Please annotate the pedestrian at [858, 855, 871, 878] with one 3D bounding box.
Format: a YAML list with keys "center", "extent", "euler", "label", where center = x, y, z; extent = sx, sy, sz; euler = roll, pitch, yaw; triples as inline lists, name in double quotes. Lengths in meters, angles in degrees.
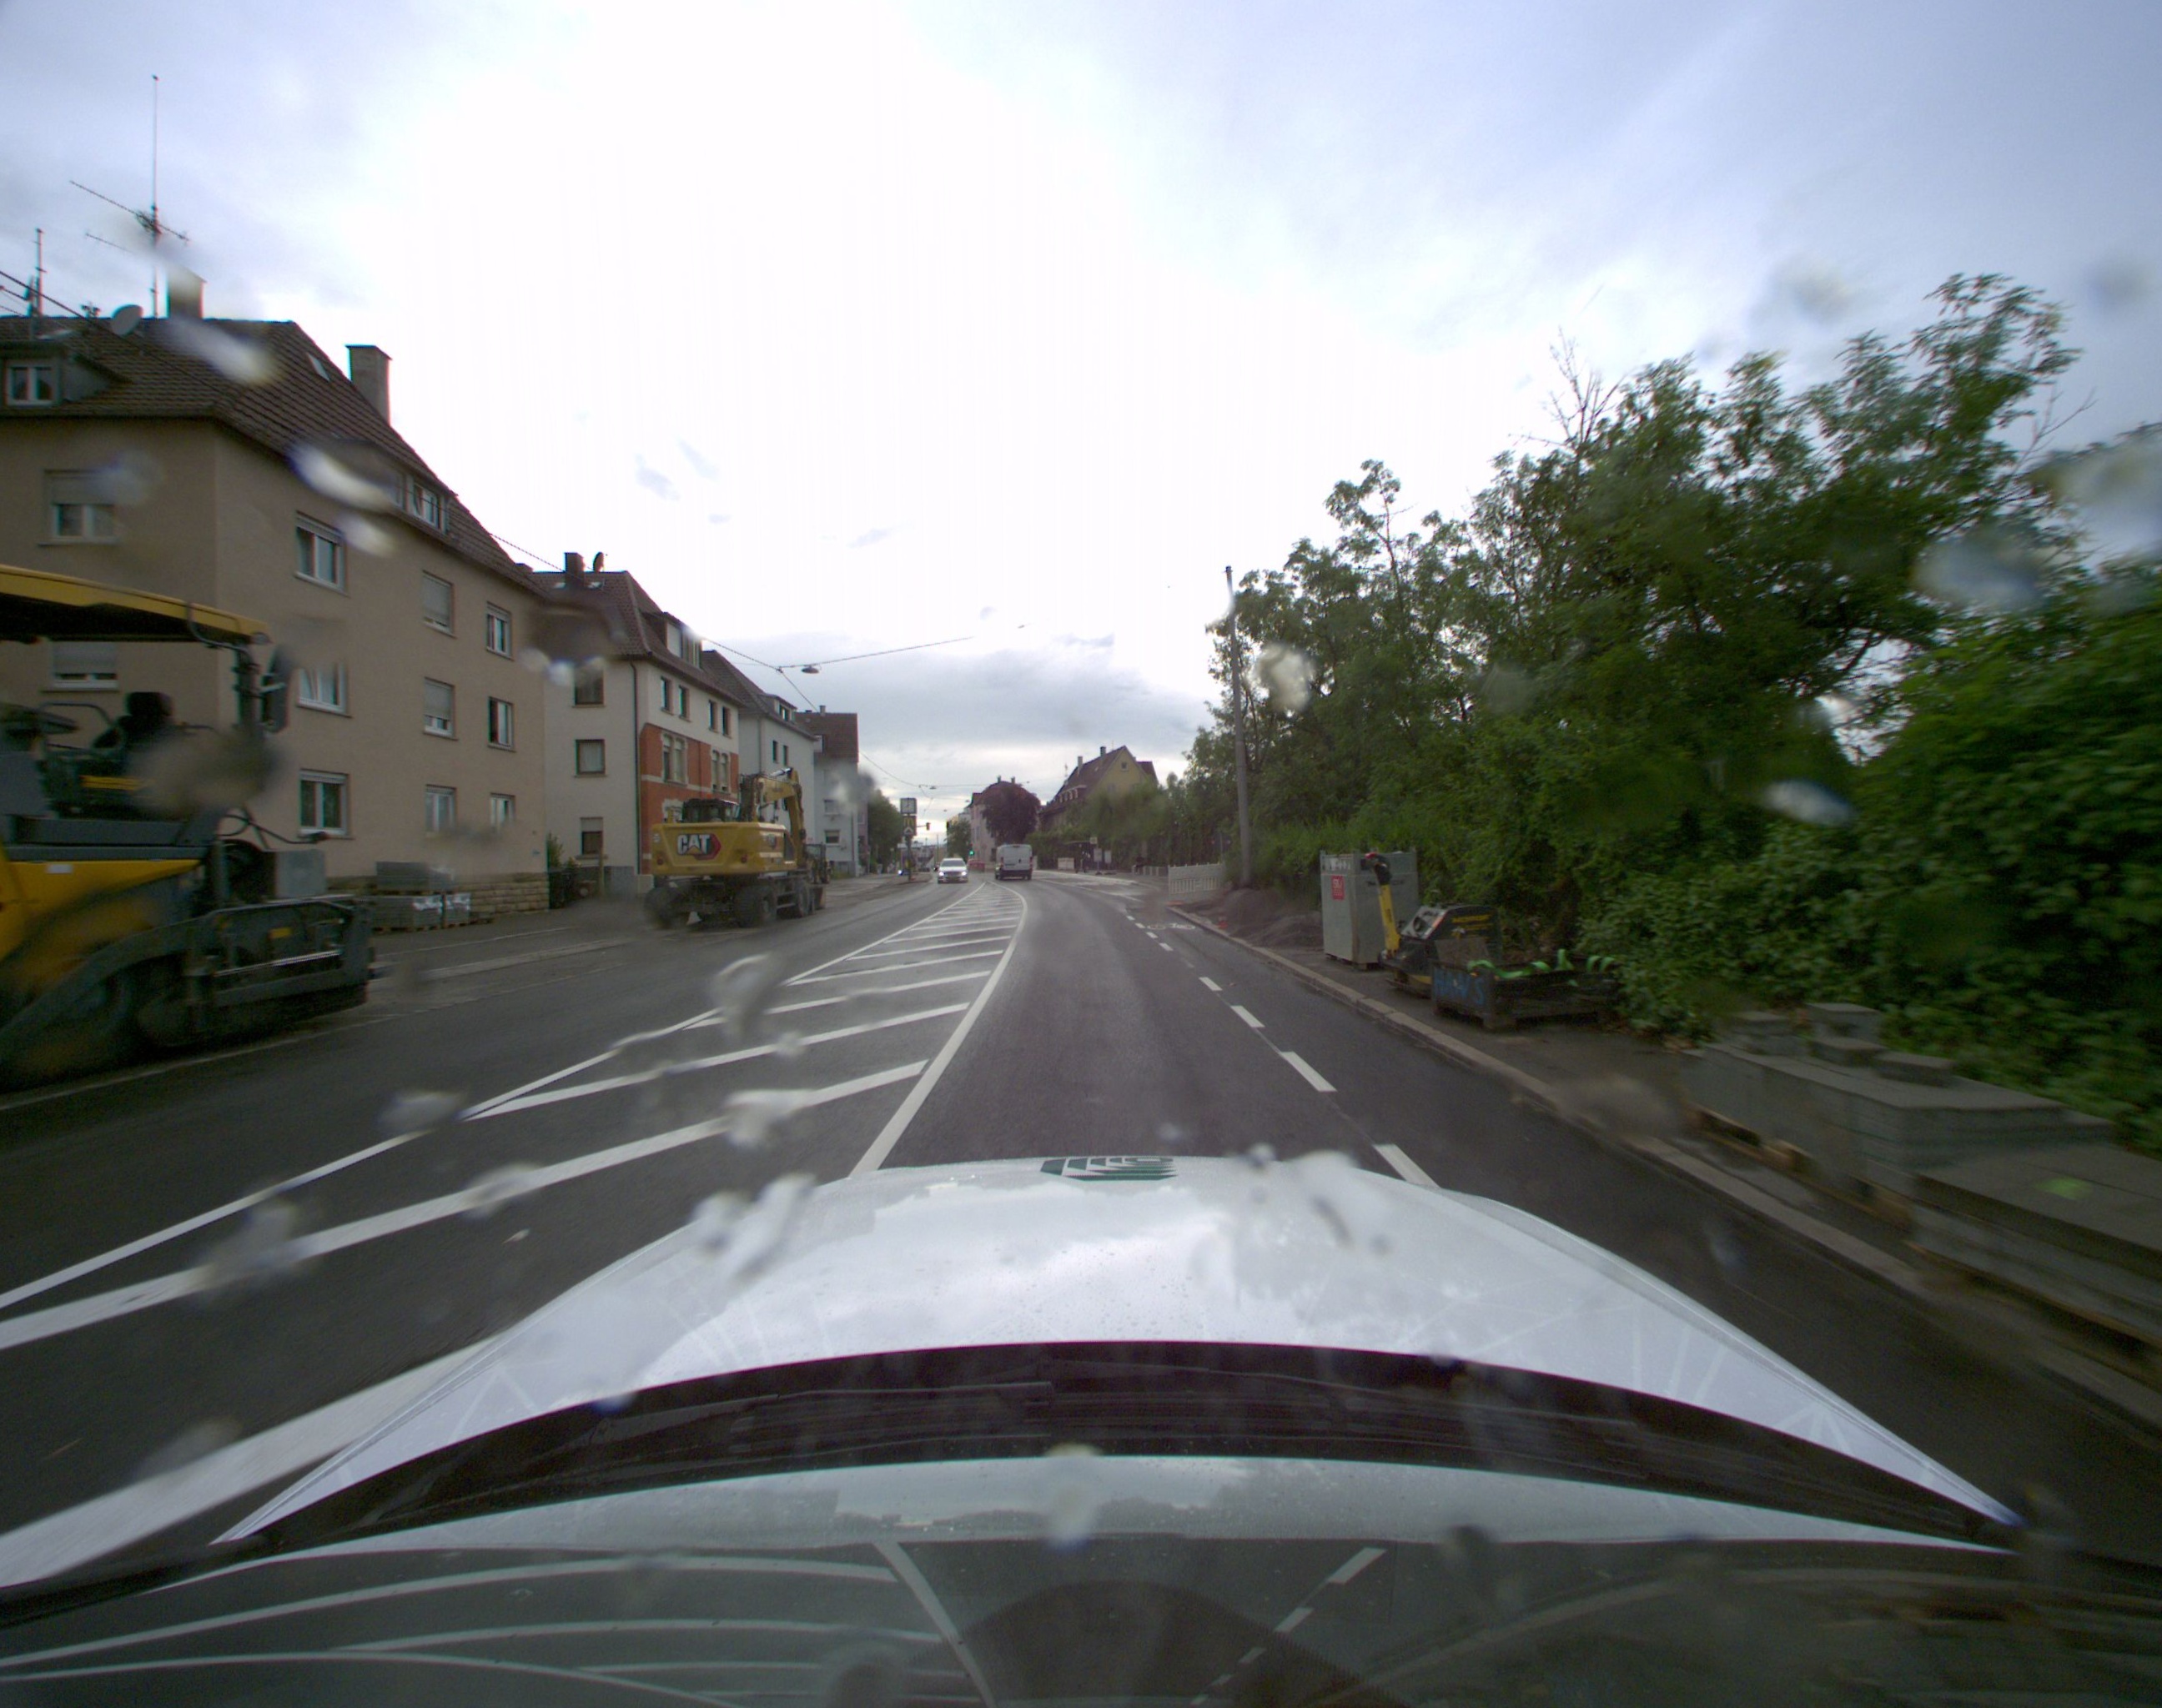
- center: [-20.005, 1.160, 75.301]
  extent: [1.080, 2.013, 1.048]
  euler: [0, 1, -12]
  label: "pedestrian"

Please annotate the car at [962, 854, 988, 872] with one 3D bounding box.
- center: [-10.983, 0.933, 84.186]
  extent: [2.240, 1.656, 4.693]
  euler: [-1, 2, -13]
  label: "car"

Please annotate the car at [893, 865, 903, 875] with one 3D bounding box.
- center: [-36.339, 3.098, 161.818]
  extent: [1.995, 1.793, 3.983]
  euler: [-1, 2, -13]
  label: "car"

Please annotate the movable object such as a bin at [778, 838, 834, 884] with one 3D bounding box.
- center: [-17.334, 0.382, 51.554]
  extent: [1.987, 2.682, 4.627]
  euler: [0, 1, 0]
  label: "movable object such as a bin"

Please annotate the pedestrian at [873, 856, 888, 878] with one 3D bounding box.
- center: [-18.309, 1.182, 74.314]
  extent: [1.210, 2.013, 1.045]
  euler: [-1, 1, -20]
  label: "pedestrian"

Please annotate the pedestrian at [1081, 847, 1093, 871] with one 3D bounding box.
- center: [0.473, 0.376, 61.367]
  extent: [0.902, 1.731, 0.654]
  euler: [0, 1, 0]
  label: "pedestrian"

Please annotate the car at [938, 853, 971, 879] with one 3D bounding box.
- center: [-7.970, 0.744, 50.896]
  extent: [1.929, 1.556, 4.603]
  euler: [0, -1, -10]
  label: "car"

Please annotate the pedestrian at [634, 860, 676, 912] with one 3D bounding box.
- center: [-13.797, 1.024, 26.408]
  extent: [0.762, 1.588, 1.091]
  euler: [0, 1, -2]
  label: "pedestrian"

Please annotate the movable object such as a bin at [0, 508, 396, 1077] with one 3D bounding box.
- center: [-8.704, -0.416, 5.549]
  extent: [2.763, 3.855, 5.992]
  euler: [0, 1, 2]
  label: "movable object such as a bin"

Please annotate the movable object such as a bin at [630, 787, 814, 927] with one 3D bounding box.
- center: [-8.836, 0.084, 20.612]
  extent: [2.863, 3.173, 4.123]
  euler: [0, -1, -1]
  label: "movable object such as a bin"

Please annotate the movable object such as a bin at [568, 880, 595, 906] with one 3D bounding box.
- center: [-17.775, 1.388, 28.983]
  extent: [0.633, 0.898, 0.574]
  euler: [0, 1, -7]
  label: "movable object such as a bin"

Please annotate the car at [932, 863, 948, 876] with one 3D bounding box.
- center: [-21.713, 2.345, 125.047]
  extent: [2.239, 1.804, 4.694]
  euler: [-1, 2, -12]
  label: "car"

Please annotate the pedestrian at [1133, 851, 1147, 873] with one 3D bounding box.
- center: [3.826, 0.506, 52.792]
  extent: [0.876, 1.367, 1.065]
  euler: [0, 1, 0]
  label: "pedestrian"

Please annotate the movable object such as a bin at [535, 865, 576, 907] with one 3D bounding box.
- center: [-18.568, 1.131, 28.773]
  extent: [0.852, 1.411, 0.955]
  euler: [0, 1, -7]
  label: "movable object such as a bin"

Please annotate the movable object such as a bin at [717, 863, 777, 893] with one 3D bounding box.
- center: [-16.285, 1.166, 39.897]
  extent: [1.551, 1.355, 3.992]
  euler: [0, -1, -5]
  label: "movable object such as a bin"

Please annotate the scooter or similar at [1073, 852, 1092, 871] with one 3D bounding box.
- center: [0.132, 0.558, 61.421]
  extent: [0.491, 1.405, 1.565]
  euler: [1, 3, 43]
  label: "scooter or similar"

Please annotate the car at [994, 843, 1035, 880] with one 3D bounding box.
- center: [-4.412, 0.442, 53.238]
  extent: [2.238, 2.213, 4.697]
  euler: [0, 2, -11]
  label: "car"
